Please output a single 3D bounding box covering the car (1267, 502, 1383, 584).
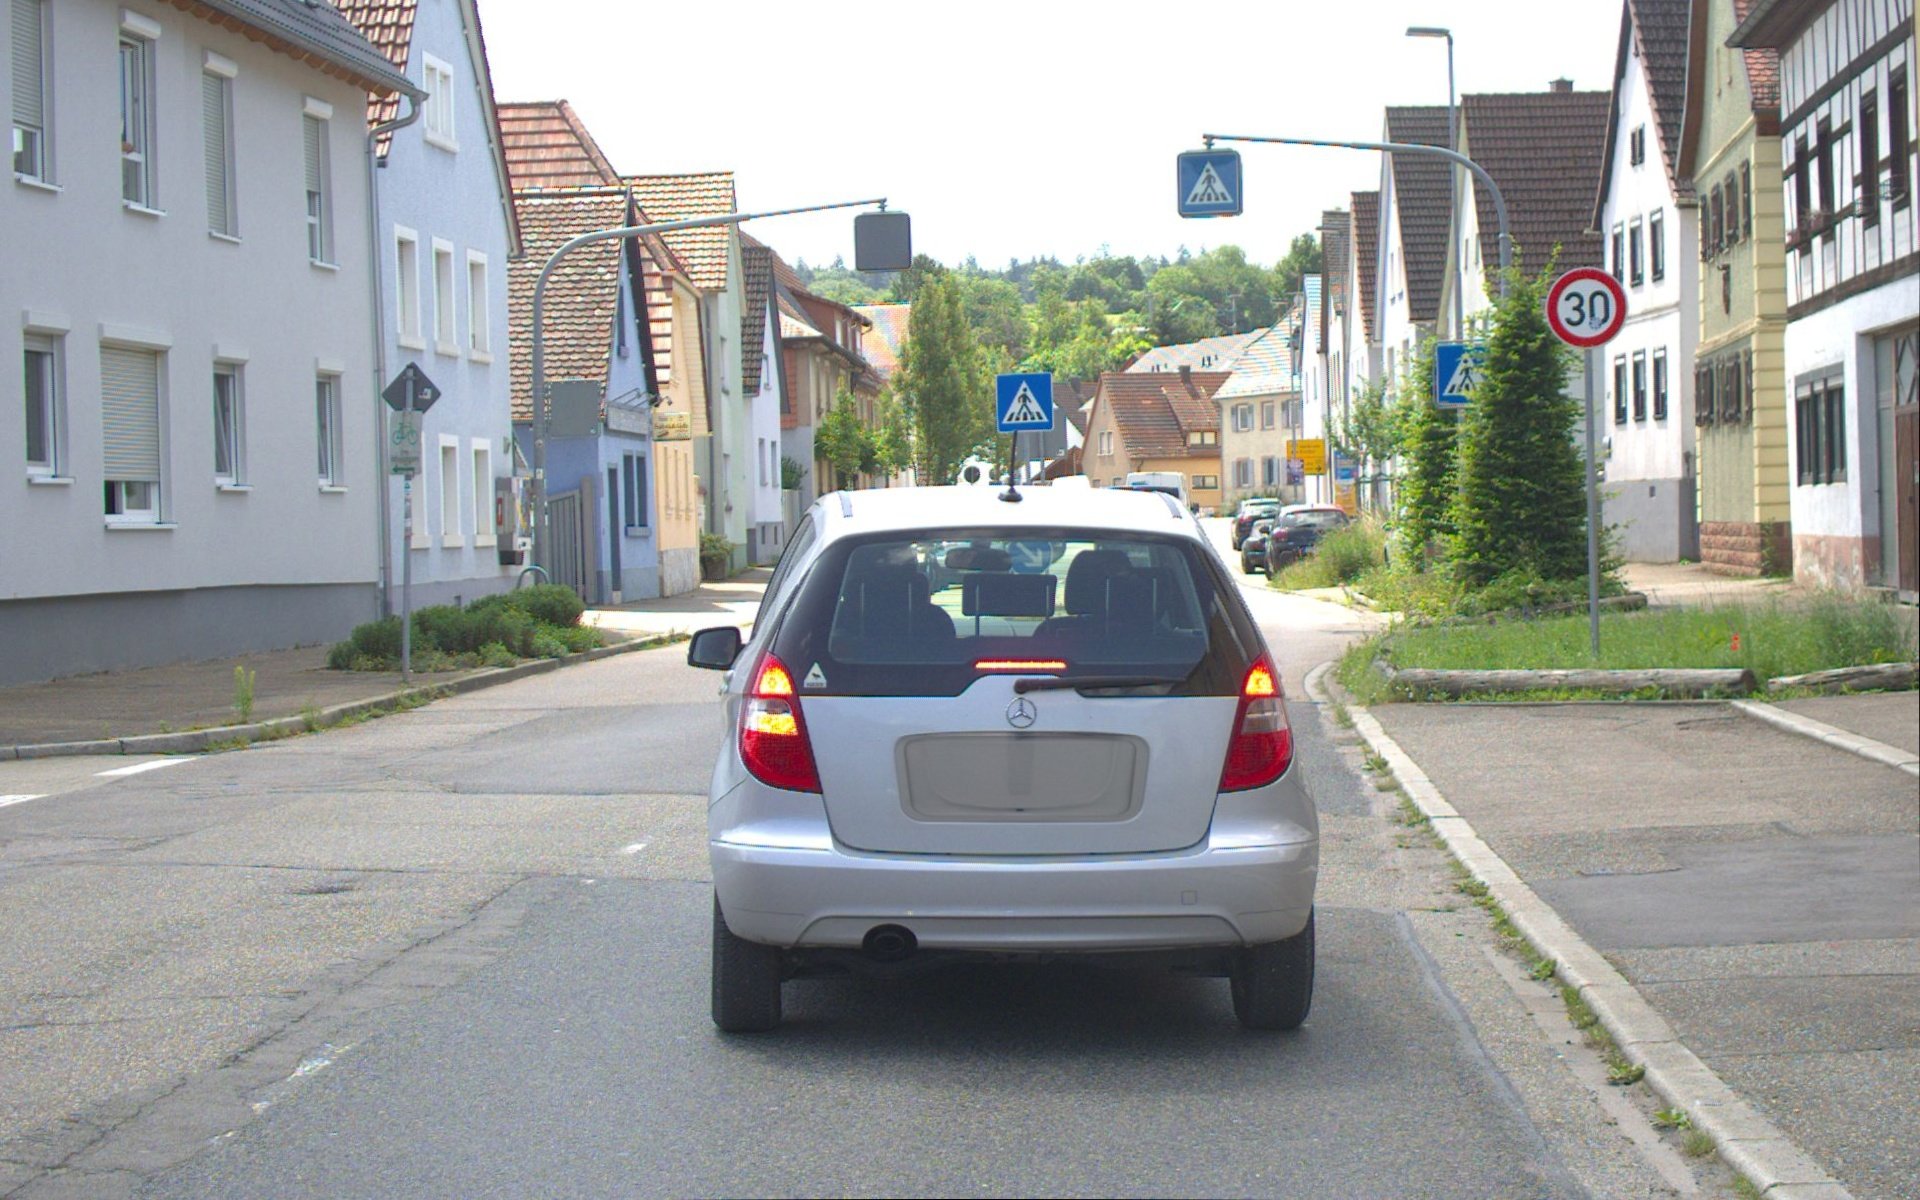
[{"bbox_3d":[7.050,-1.077,66.700,1.994,1.503,3.999,0,0,3],"label":"car"}]

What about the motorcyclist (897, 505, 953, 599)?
[{"bbox_3d":[-0.584,-0.811,57.809,0.896,1.549,0.807,0,2,3],"label":"motorcyclist"}]

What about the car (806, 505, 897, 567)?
[{"bbox_3d":[-2.473,-1.438,77.887,1.993,1.317,3.709,0,0,-2],"label":"car"}]

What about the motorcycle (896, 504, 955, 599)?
[{"bbox_3d":[-0.572,-0.832,57.886,0.880,1.555,1.967,0,2,2],"label":"motorcycle"}]

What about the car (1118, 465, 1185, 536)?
[{"bbox_3d":[5.810,-3.018,104.748,1.994,2.007,4.000,0,0,3],"label":"car"}]

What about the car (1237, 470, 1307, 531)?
[{"bbox_3d":[9.965,-3.169,110.135,1.993,1.810,4.000,0,0,2],"label":"car"}]

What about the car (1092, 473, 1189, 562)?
[{"bbox_3d":[3.890,-1.770,74.564,1.993,1.810,4.000,0,0,2],"label":"car"}]

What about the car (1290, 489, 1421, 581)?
[{"bbox_3d":[6.839,-1.103,59.716,1.994,1.503,3.999,0,0,3],"label":"car"}]

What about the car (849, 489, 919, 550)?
[{"bbox_3d":[-2.090,-2.229,96.045,1.667,1.590,3.999,0,0,3],"label":"car"}]

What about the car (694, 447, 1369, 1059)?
[{"bbox_3d":[0.064,0.385,11.163,1.810,1.638,3.730,1,1,-4],"label":"car"}]

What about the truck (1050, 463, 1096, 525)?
[{"bbox_3d":[5.080,-4.707,154.148,1.993,2.528,6.739,0,0,2],"label":"truck"}]
